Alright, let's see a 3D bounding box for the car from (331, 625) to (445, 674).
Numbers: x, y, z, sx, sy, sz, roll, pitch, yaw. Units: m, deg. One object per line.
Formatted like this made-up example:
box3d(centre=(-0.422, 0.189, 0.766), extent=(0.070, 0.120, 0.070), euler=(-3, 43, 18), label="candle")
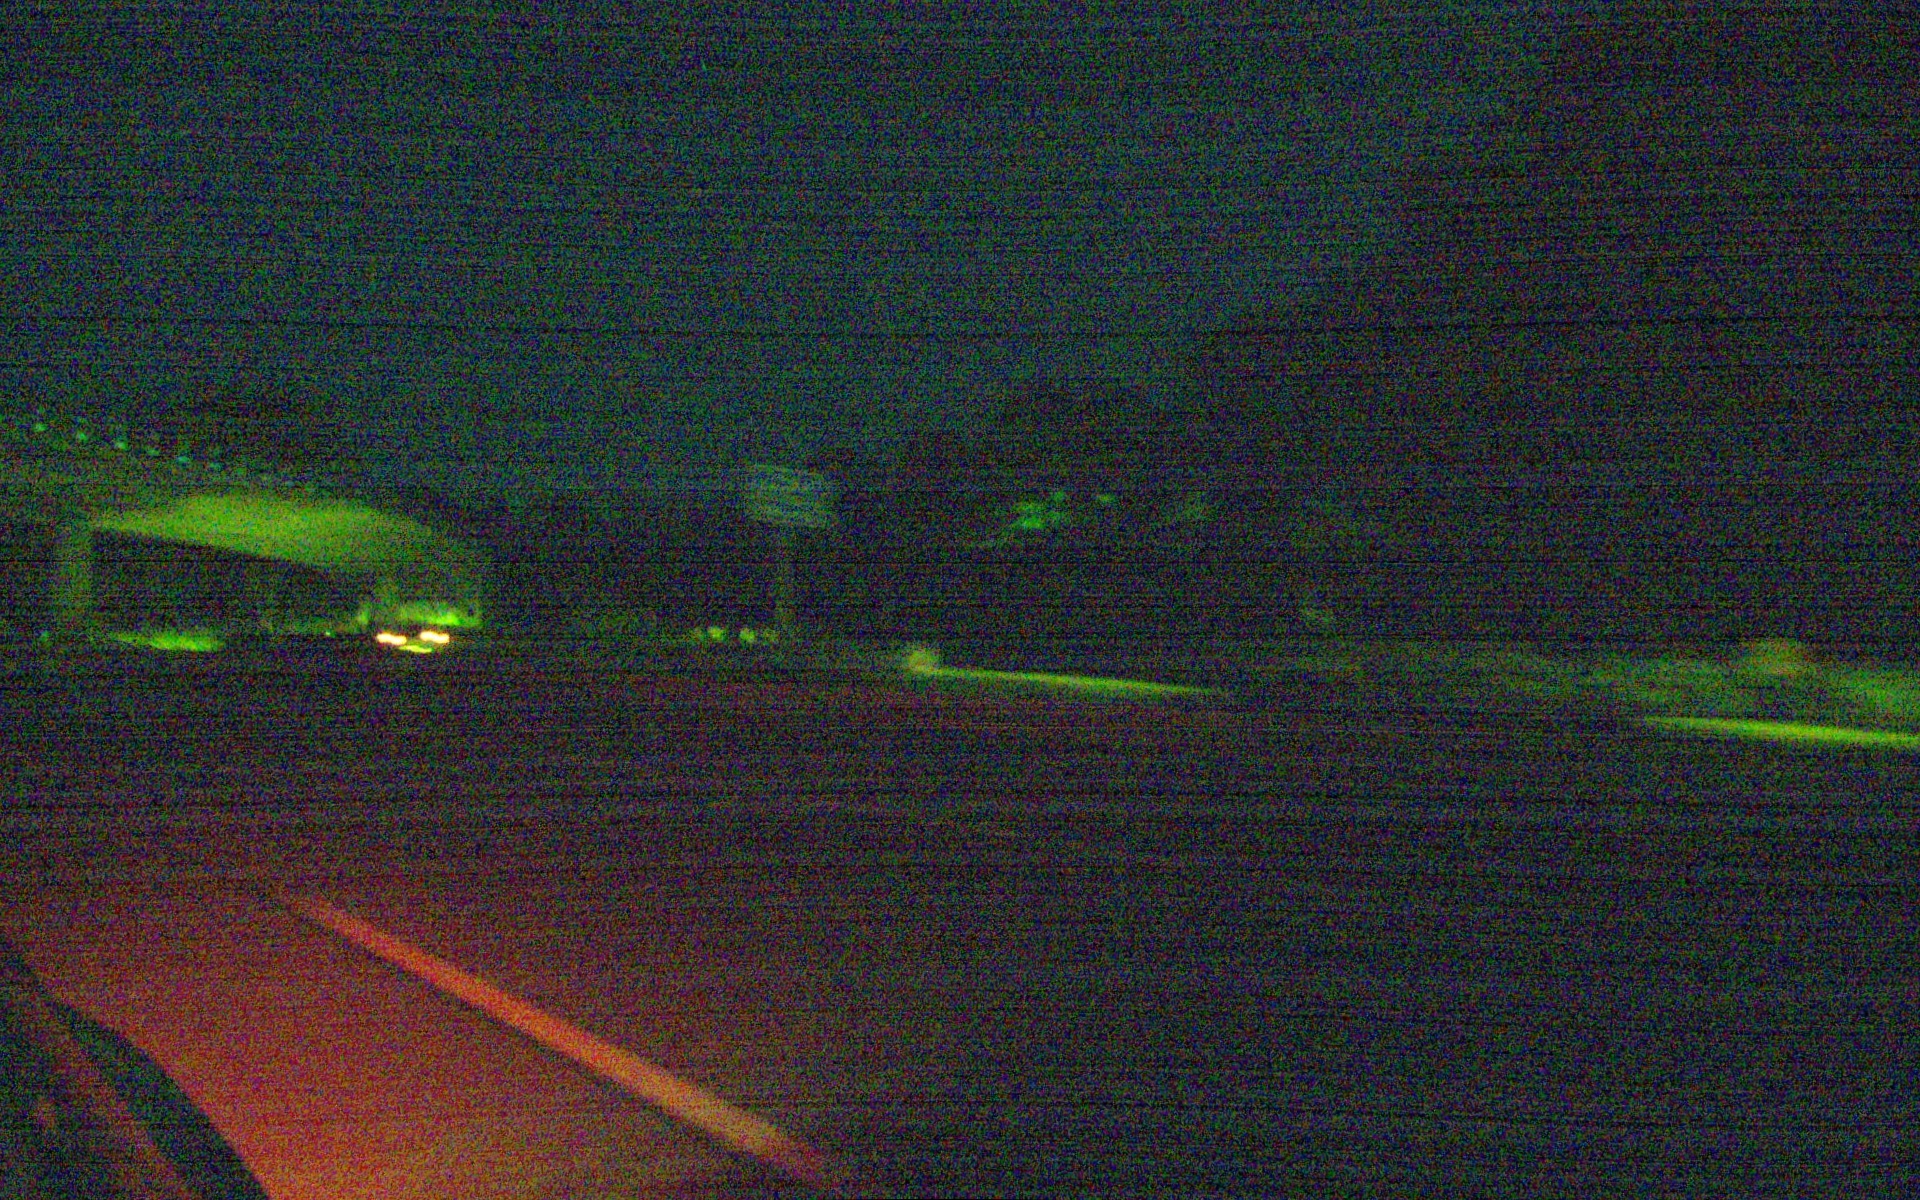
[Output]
box3d(centre=(-21.095, 1.780, 37.264), extent=(4.526, 1.670, 1.975), euler=(-1, -2, 36), label="car")
